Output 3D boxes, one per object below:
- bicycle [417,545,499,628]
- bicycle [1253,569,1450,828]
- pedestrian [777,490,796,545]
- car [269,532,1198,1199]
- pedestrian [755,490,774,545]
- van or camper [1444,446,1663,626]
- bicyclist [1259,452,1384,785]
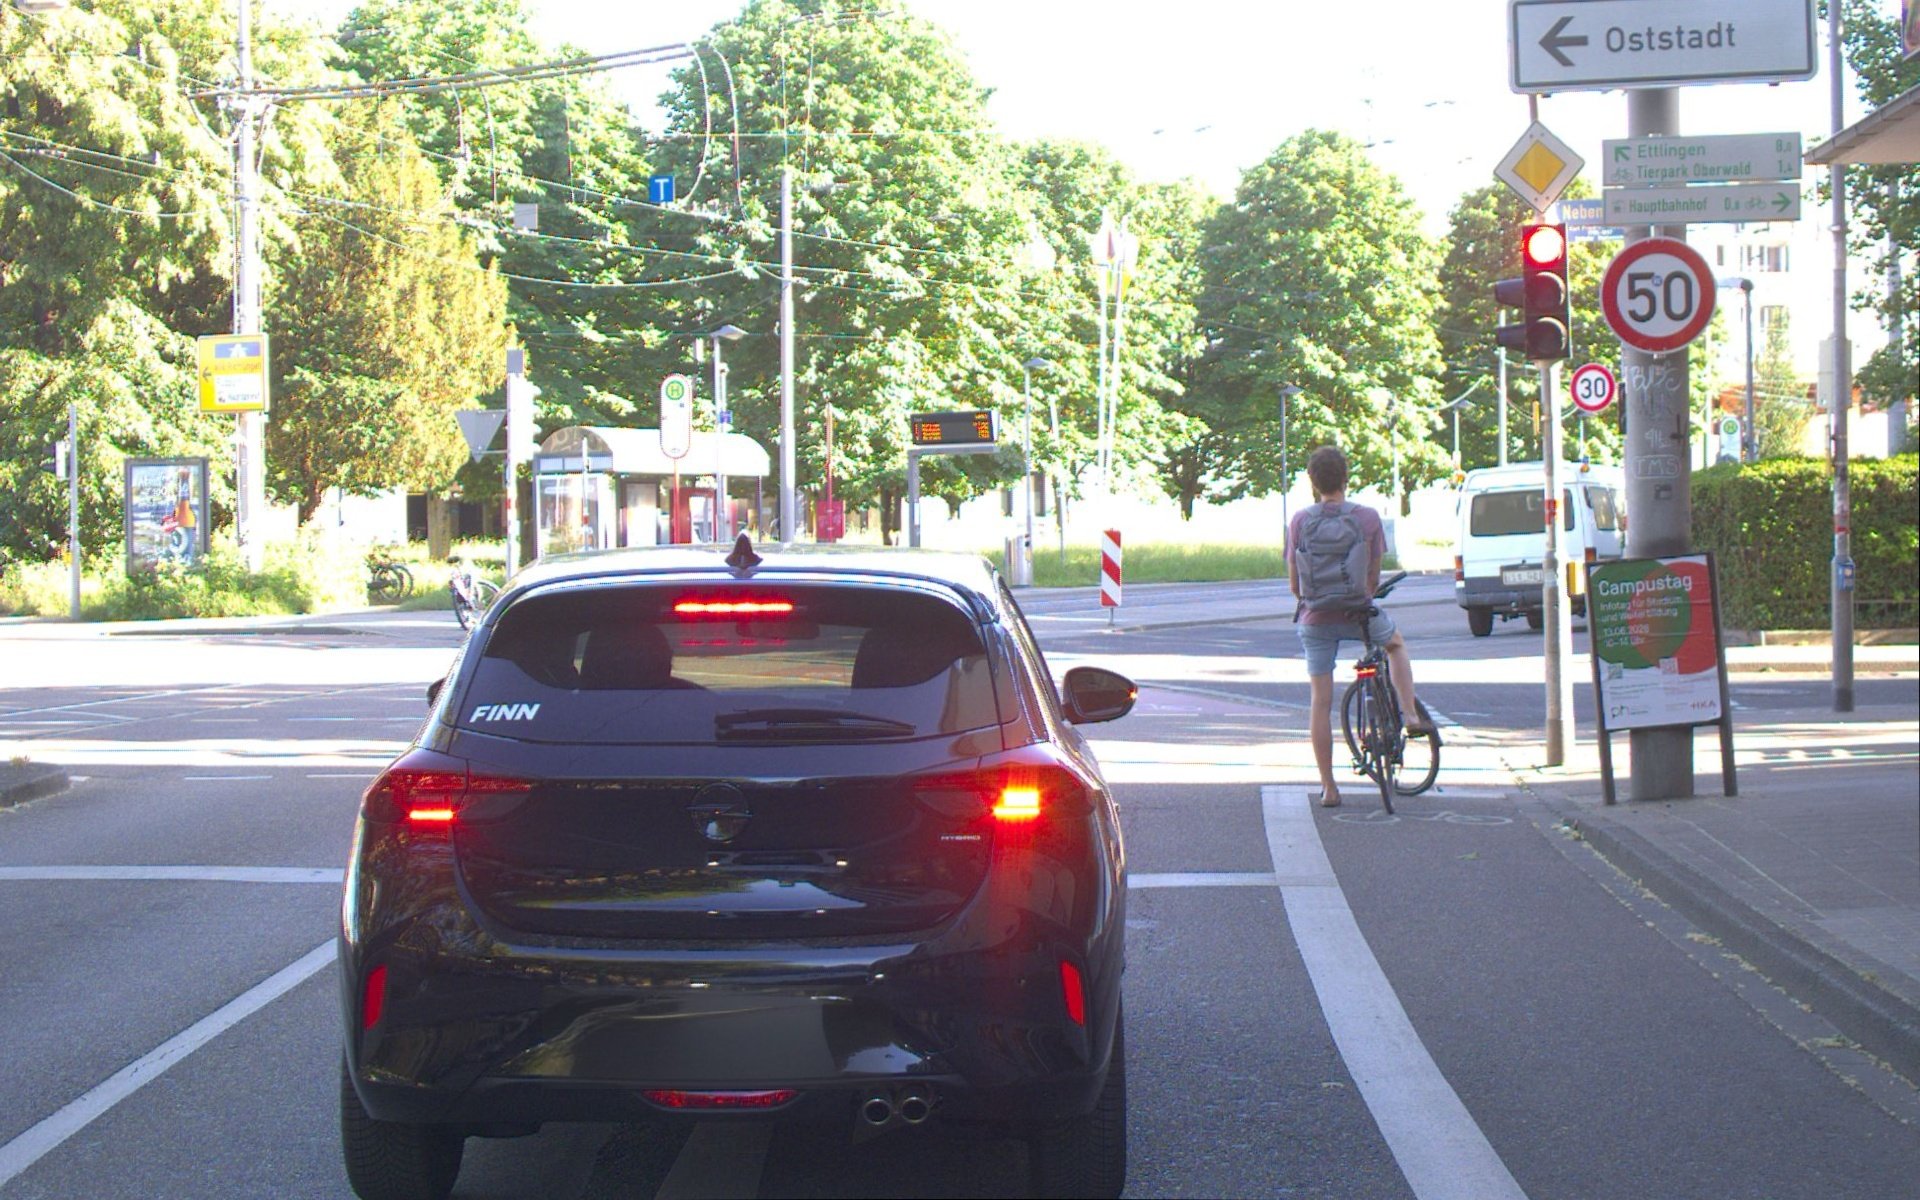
[{"bbox_3d":[-6.746,-0.195,46.328,0.796,1.061,2.185,0,1,-1],"label":"bicycle"},{"bbox_3d":[2.062,0.473,17.874,0.753,1.231,2.014,0,1,14],"label":"bicycle"},{"bbox_3d":[-5.968,-2.841,118.564,0.603,1.865,0.519,1,0,-6],"label":"pedestrian"},{"bbox_3d":[-0.472,0.568,8.819,1.840,1.457,3.984,0,1,-1],"label":"car"},{"bbox_3d":[-6.800,-2.861,119.418,0.603,1.865,0.519,1,0,-6],"label":"pedestrian"},{"bbox_3d":[8.061,-0.843,46.366,2.031,2.302,4.535,1,1,21],"label":"van or camper"},{"bbox_3d":[1.872,0.088,17.763,0.534,1.686,0.567,0,1,17],"label":"bicyclist"}]
